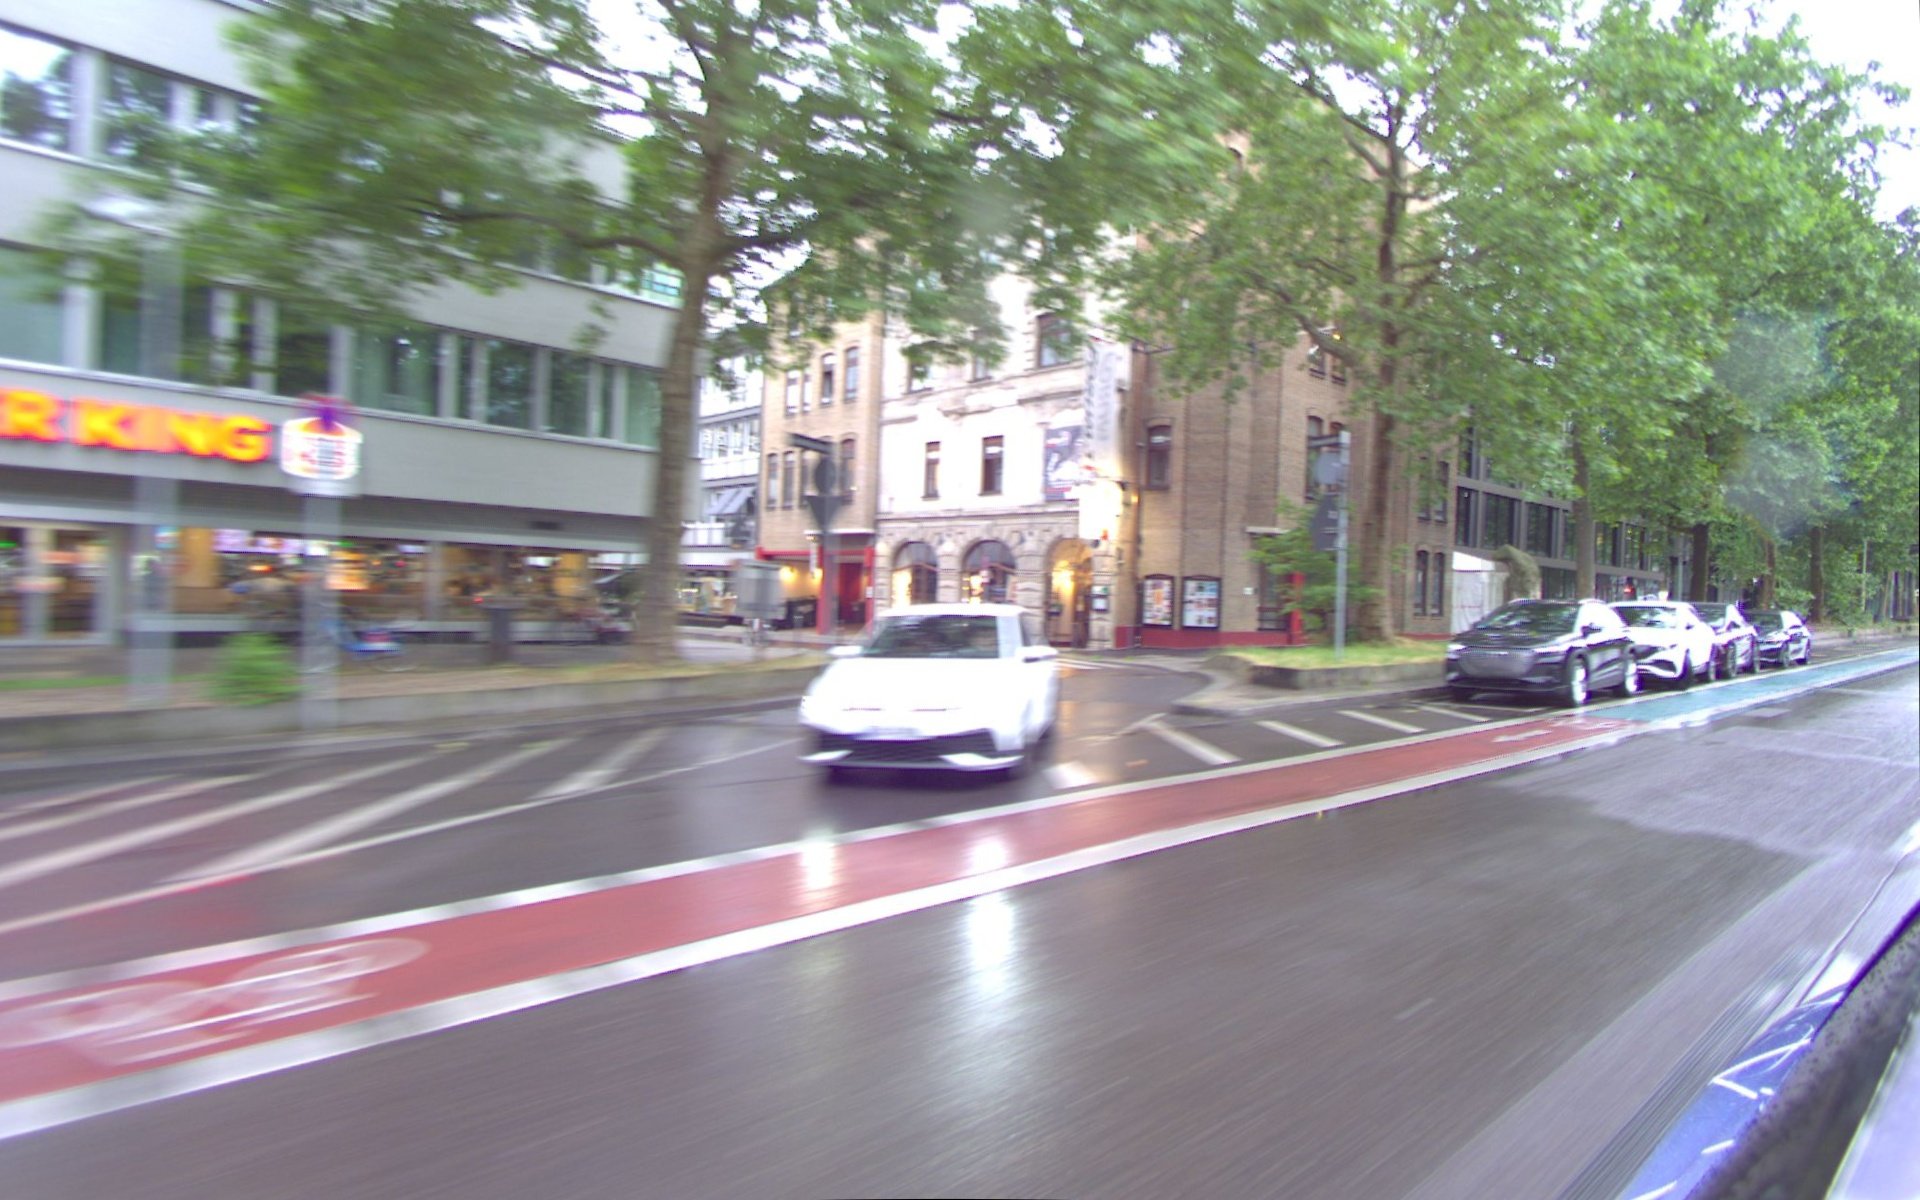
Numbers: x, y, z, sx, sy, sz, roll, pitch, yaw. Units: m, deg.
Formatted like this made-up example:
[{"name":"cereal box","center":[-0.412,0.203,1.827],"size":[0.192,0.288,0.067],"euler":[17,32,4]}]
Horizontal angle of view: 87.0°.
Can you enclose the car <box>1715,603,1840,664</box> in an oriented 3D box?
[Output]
[{"name":"car","center":[21.290,0.808,26.293],"size":[4.505,1.451,1.746],"euler":[0,0,-40]}]

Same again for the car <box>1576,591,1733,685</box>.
[{"name":"car","center":[13.454,0.654,19.504],"size":[1.752,1.605,4.338],"euler":[0,0,45]}]

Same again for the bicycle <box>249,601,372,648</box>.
[{"name":"bicycle","center":[-12.435,0.448,19.429],"size":[0.640,0.829,1.885],"euler":[1,1,41]}]

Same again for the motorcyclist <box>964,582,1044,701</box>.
[{"name":"motorcyclist","center":[0.646,0.576,14.760],"size":[0.842,1.665,0.861],"euler":[1,0,32]}]

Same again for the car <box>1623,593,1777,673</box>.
[{"name":"car","center":[16.807,0.675,22.900],"size":[4.483,1.609,1.996],"euler":[0,0,-43]}]

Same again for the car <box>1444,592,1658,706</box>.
[{"name":"car","center":[9.699,0.693,16.470],"size":[4.348,1.623,1.795],"euler":[0,0,-42]}]

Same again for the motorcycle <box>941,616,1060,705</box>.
[{"name":"motorcycle","center":[0.628,0.834,14.735],"size":[0.862,1.157,1.999],"euler":[1,0,32]}]

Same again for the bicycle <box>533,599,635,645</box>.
[{"name":"bicycle","center":[-8.509,0.512,22.958],"size":[2.041,0.906,0.584],"euler":[3,5,-44]}]

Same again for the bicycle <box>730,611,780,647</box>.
[{"name":"bicycle","center":[-5.869,0.799,28.866],"size":[0.613,0.949,1.973],"euler":[1,0,-36]}]

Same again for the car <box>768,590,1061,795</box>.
[{"name":"car","center":[-0.144,0.659,9.735],"size":[1.838,1.463,4.495],"euler":[1,0,11]}]

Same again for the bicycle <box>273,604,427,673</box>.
[{"name":"bicycle","center":[-9.140,0.552,15.203],"size":[1.881,0.934,0.642],"euler":[1,2,-43]}]
